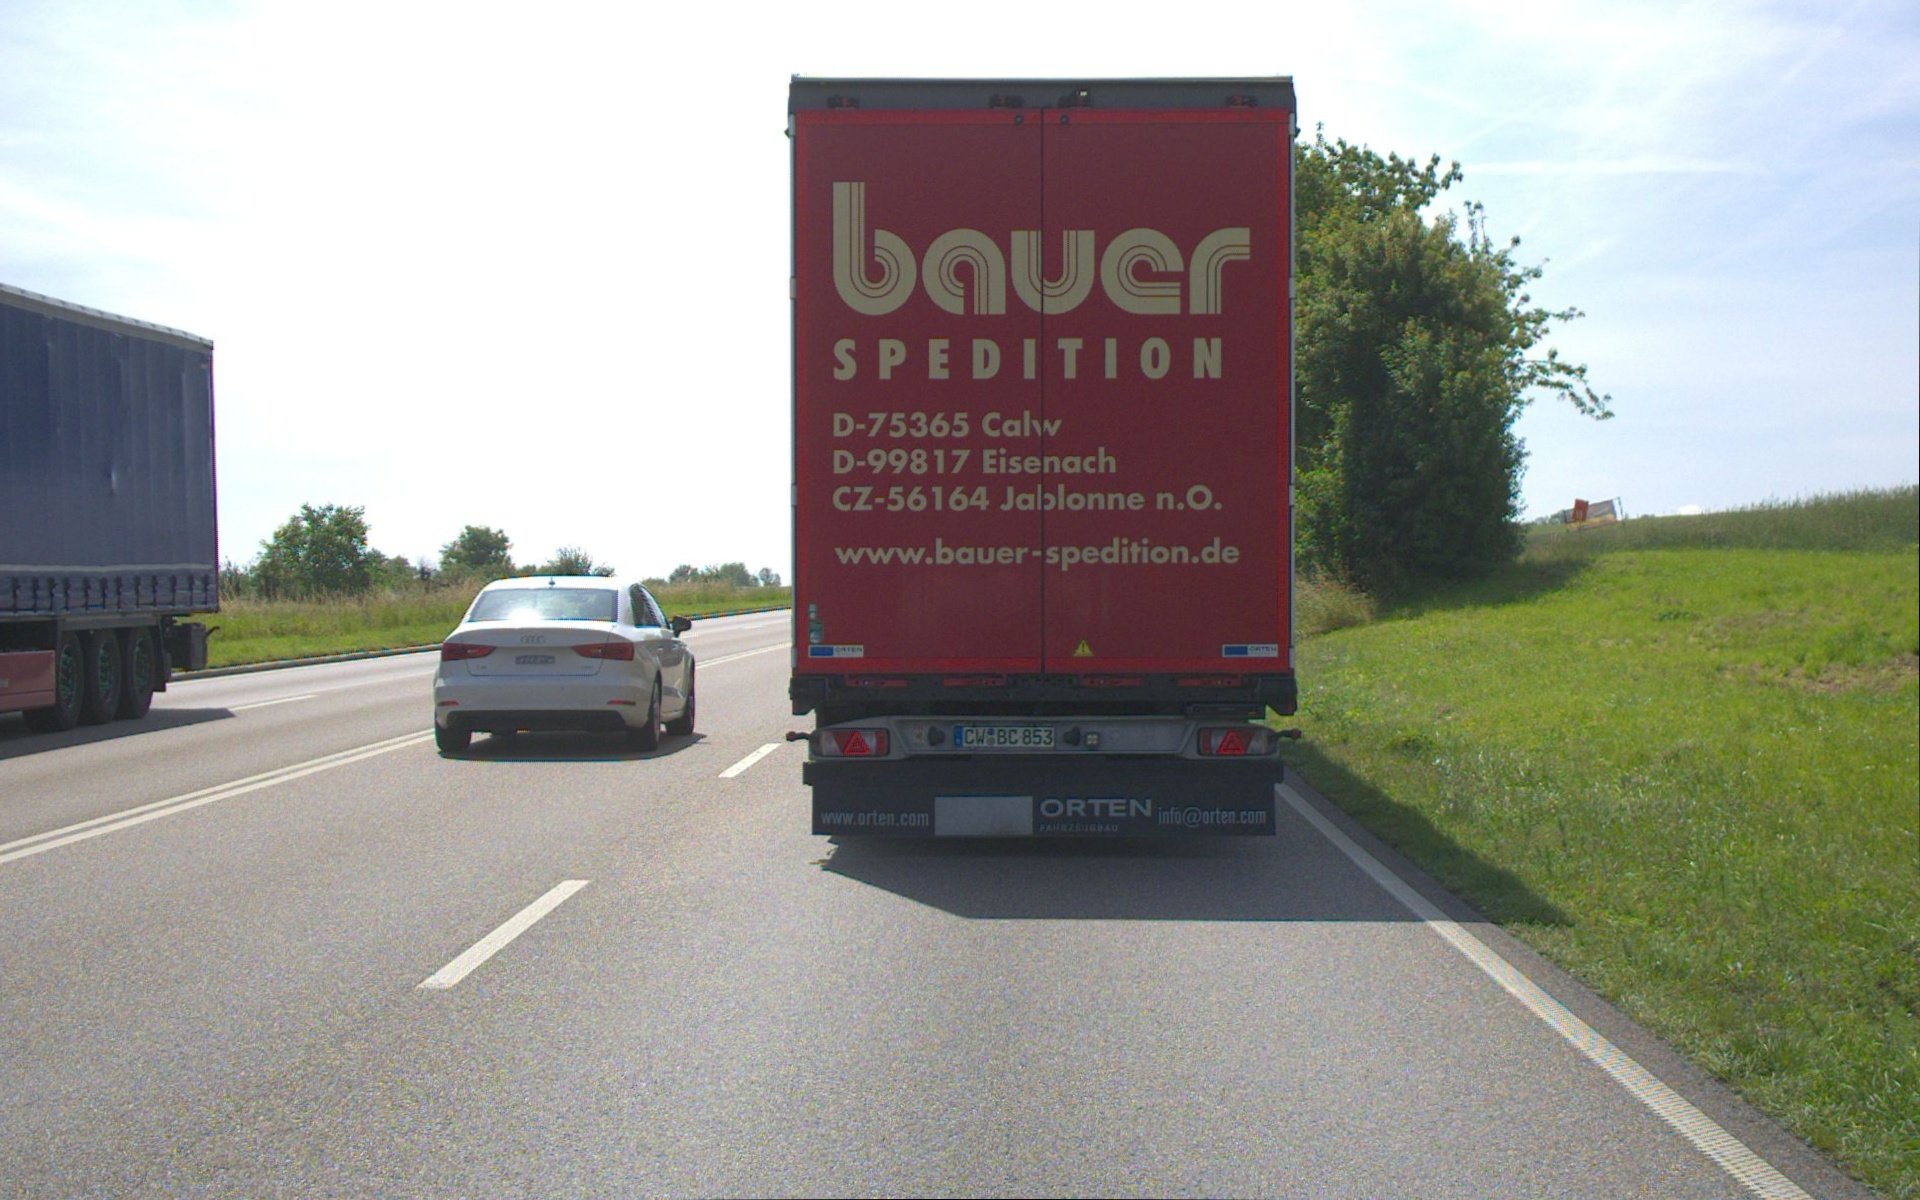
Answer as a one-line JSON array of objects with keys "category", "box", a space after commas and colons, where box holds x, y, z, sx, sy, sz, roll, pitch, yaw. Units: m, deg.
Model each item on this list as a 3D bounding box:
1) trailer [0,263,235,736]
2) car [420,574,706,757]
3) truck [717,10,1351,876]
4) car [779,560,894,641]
[{"category": "trailer", "box": [-9.512, -0.872, 31.186, 2.545, 4.087, 13.583, -1, 1, 2]}, {"category": "car", "box": [-3.209, 0.482, 28.610, 1.703, 1.371, 4.603, 1, 1, 2]}, {"category": "truck", "box": [0.319, -0.823, 25.151, 3.007, 4.166, 16.714, 1, 0, 0]}, {"category": "car", "box": [-2.331, -0.025, 66.110, 1.821, 1.467, 4.788, 1, 1, 2]}]
